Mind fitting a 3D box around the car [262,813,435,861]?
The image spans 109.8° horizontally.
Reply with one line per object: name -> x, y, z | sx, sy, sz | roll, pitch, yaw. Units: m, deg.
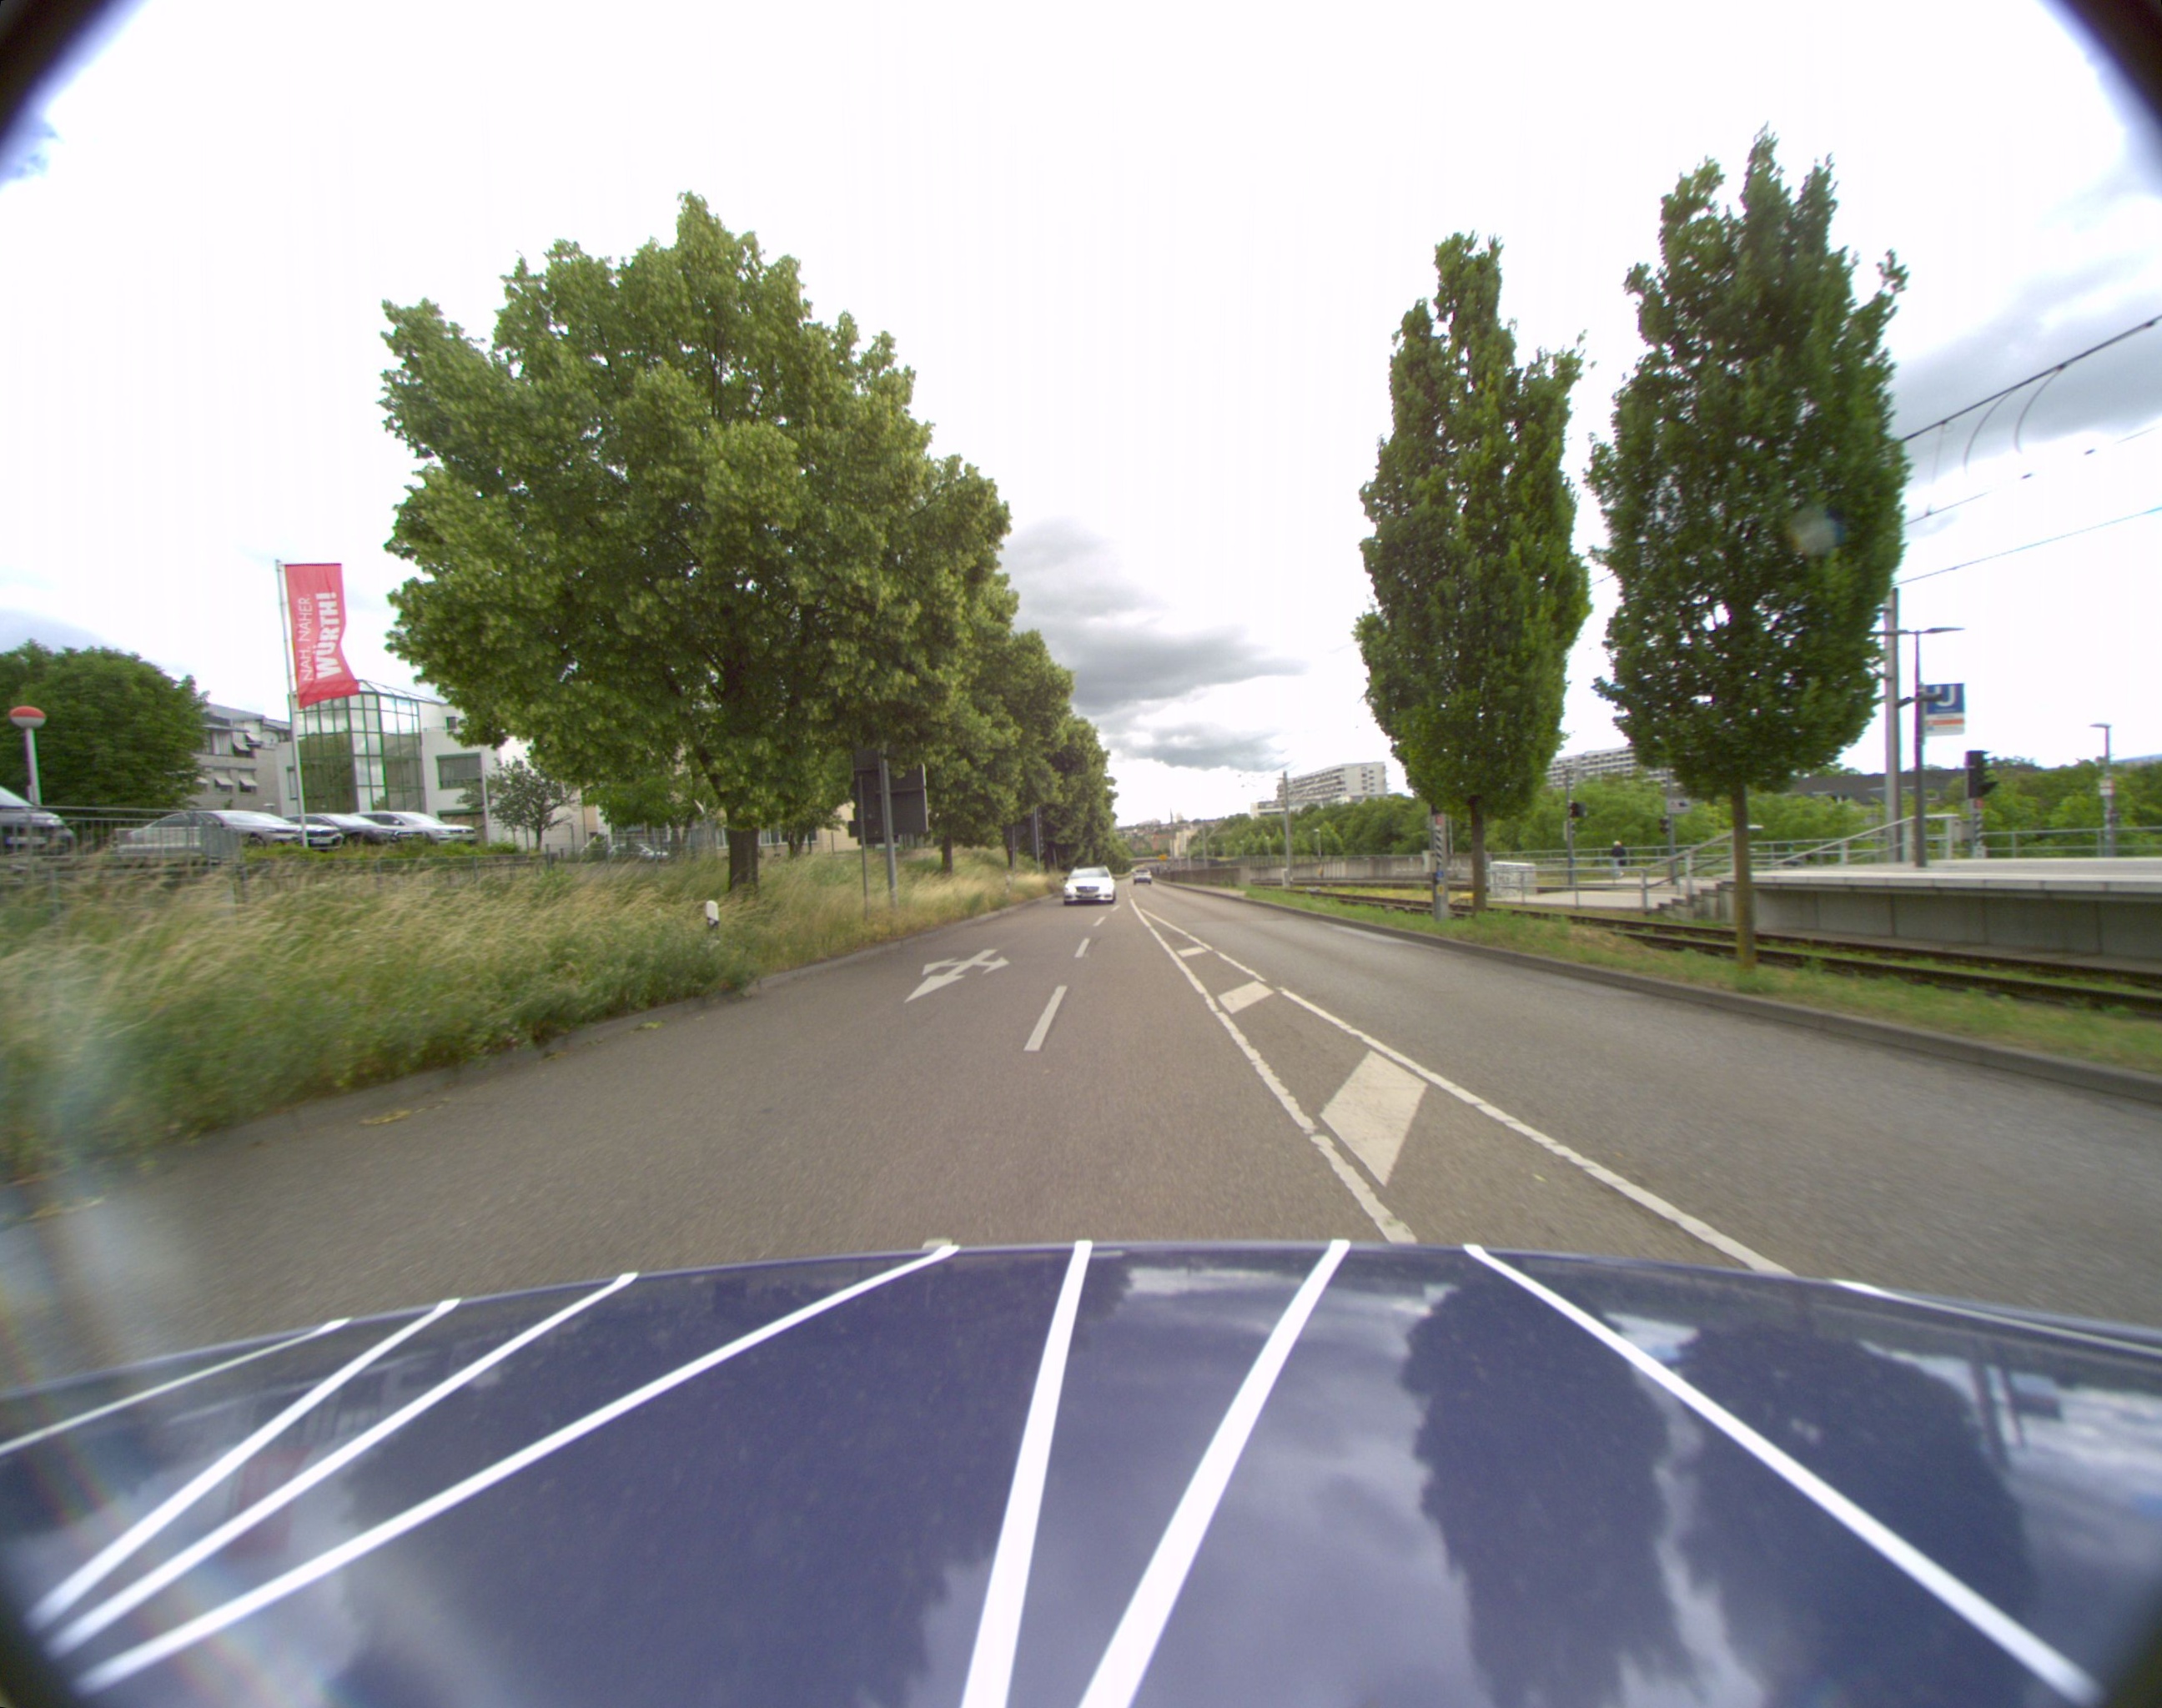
car -> -22.758, -0.513, 23.684 | 3.934, 1.360, 1.756 | -1, 0, 7

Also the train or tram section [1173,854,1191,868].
train or tram section -> 24.735, 1.772, 186.841 | 2.787, 3.174, 18.480 | -2, -1, 3

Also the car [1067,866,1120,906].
car -> 0.560, 1.195, 29.598 | 1.739, 1.365, 4.002 | -2, -1, 5

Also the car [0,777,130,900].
car -> -19.453, -0.174, 13.330 | 3.762, 1.947, 1.644 | -3, -1, 7

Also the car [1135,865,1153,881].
car -> 6.296, 1.864, 76.369 | 1.720, 1.512, 3.746 | -2, -1, 4

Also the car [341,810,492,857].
car -> -23.236, -0.690, 26.633 | 3.934, 1.474, 1.756 | -1, 0, 7

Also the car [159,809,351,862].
car -> -23.221, -0.495, 21.438 | 3.762, 1.356, 1.756 | -1, 0, 7

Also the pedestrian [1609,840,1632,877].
pedestrian -> 23.652, 0.195, 33.302 | 0.508, 1.615, 0.646 | -2, 0, 3
